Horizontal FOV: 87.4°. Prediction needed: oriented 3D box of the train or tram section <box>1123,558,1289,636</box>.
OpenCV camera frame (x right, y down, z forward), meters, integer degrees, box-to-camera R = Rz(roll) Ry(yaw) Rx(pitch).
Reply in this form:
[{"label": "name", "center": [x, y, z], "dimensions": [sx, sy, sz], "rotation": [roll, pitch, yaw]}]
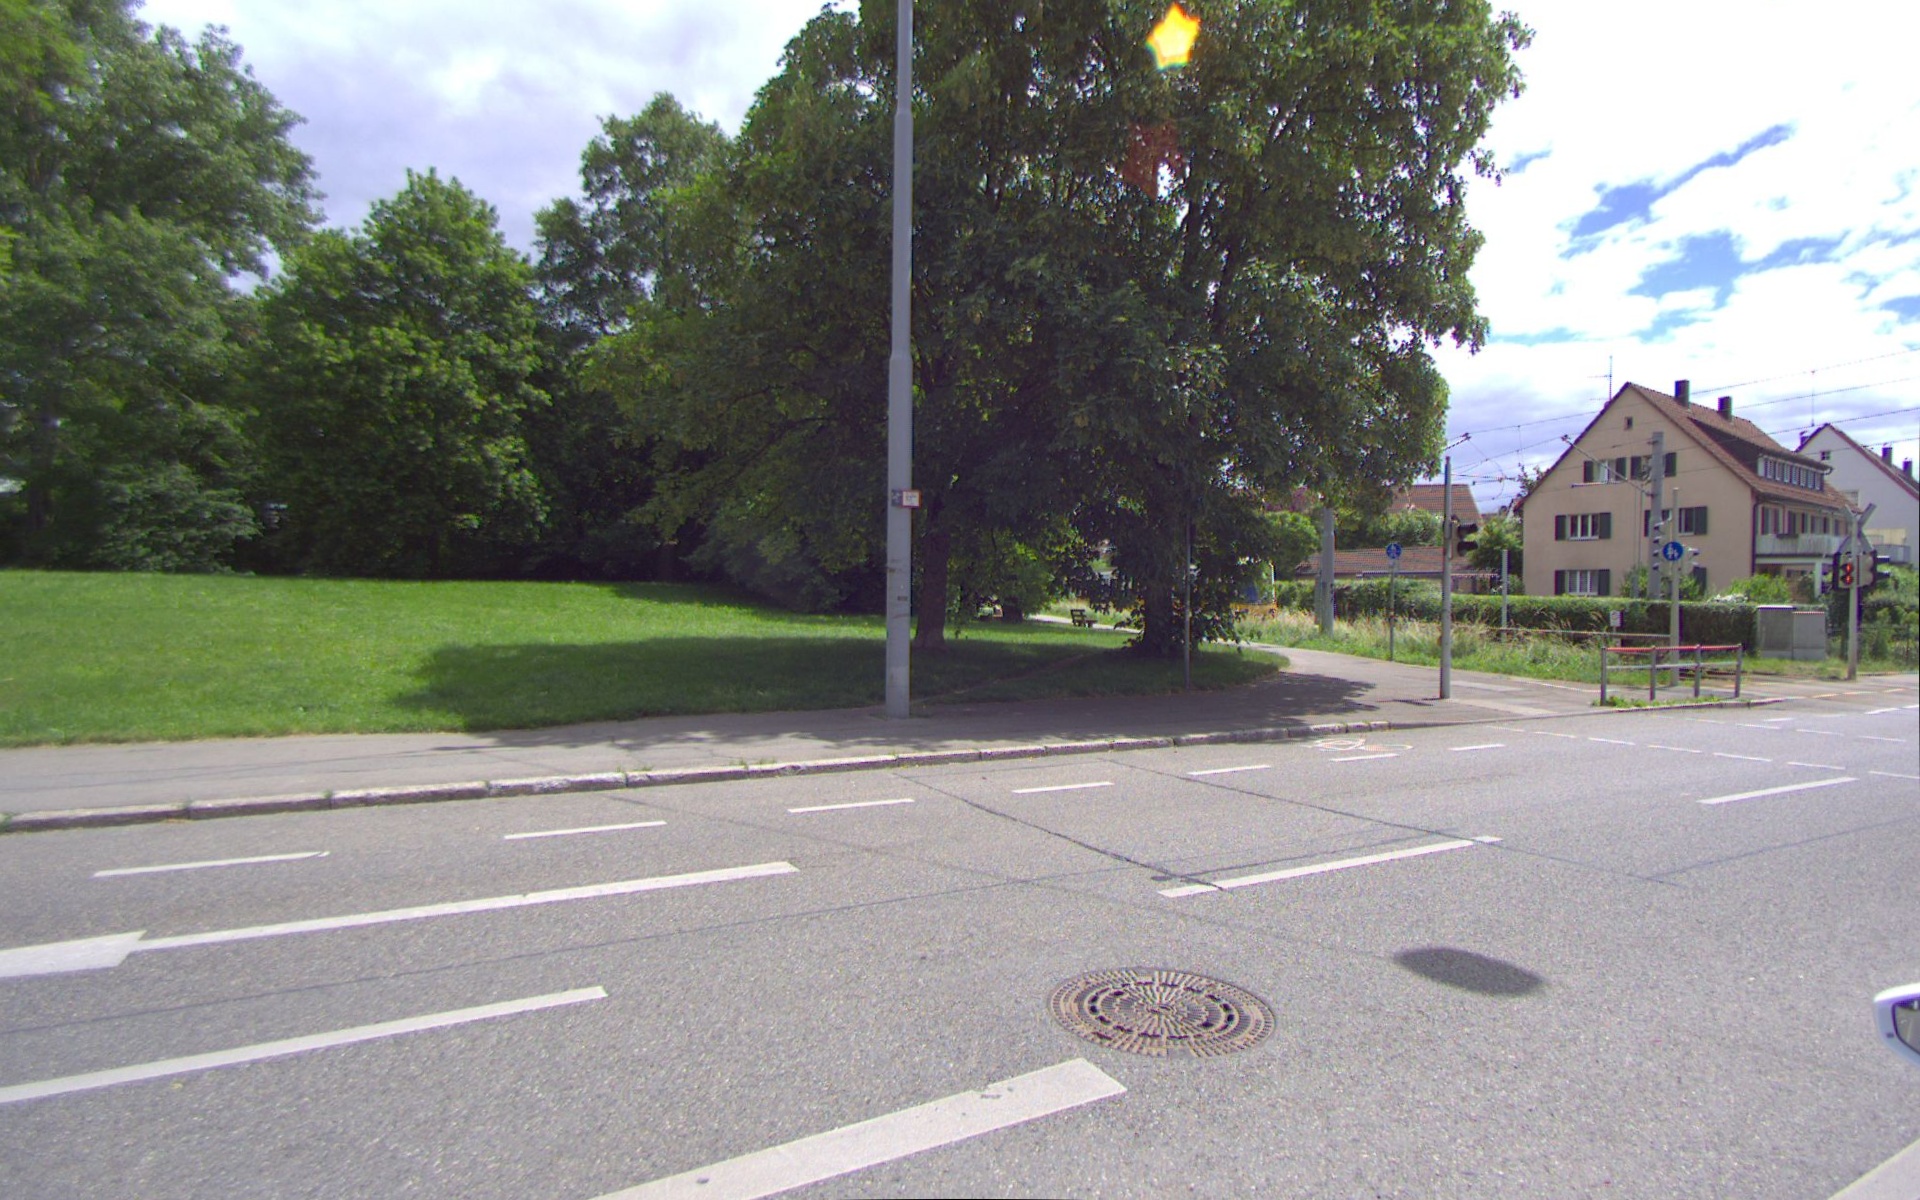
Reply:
[{"label": "train or tram section", "center": [13.424, -0.246, 57.992], "dimensions": [2.864, 3.754, 19.098], "rotation": [1, 1, -6]}]
